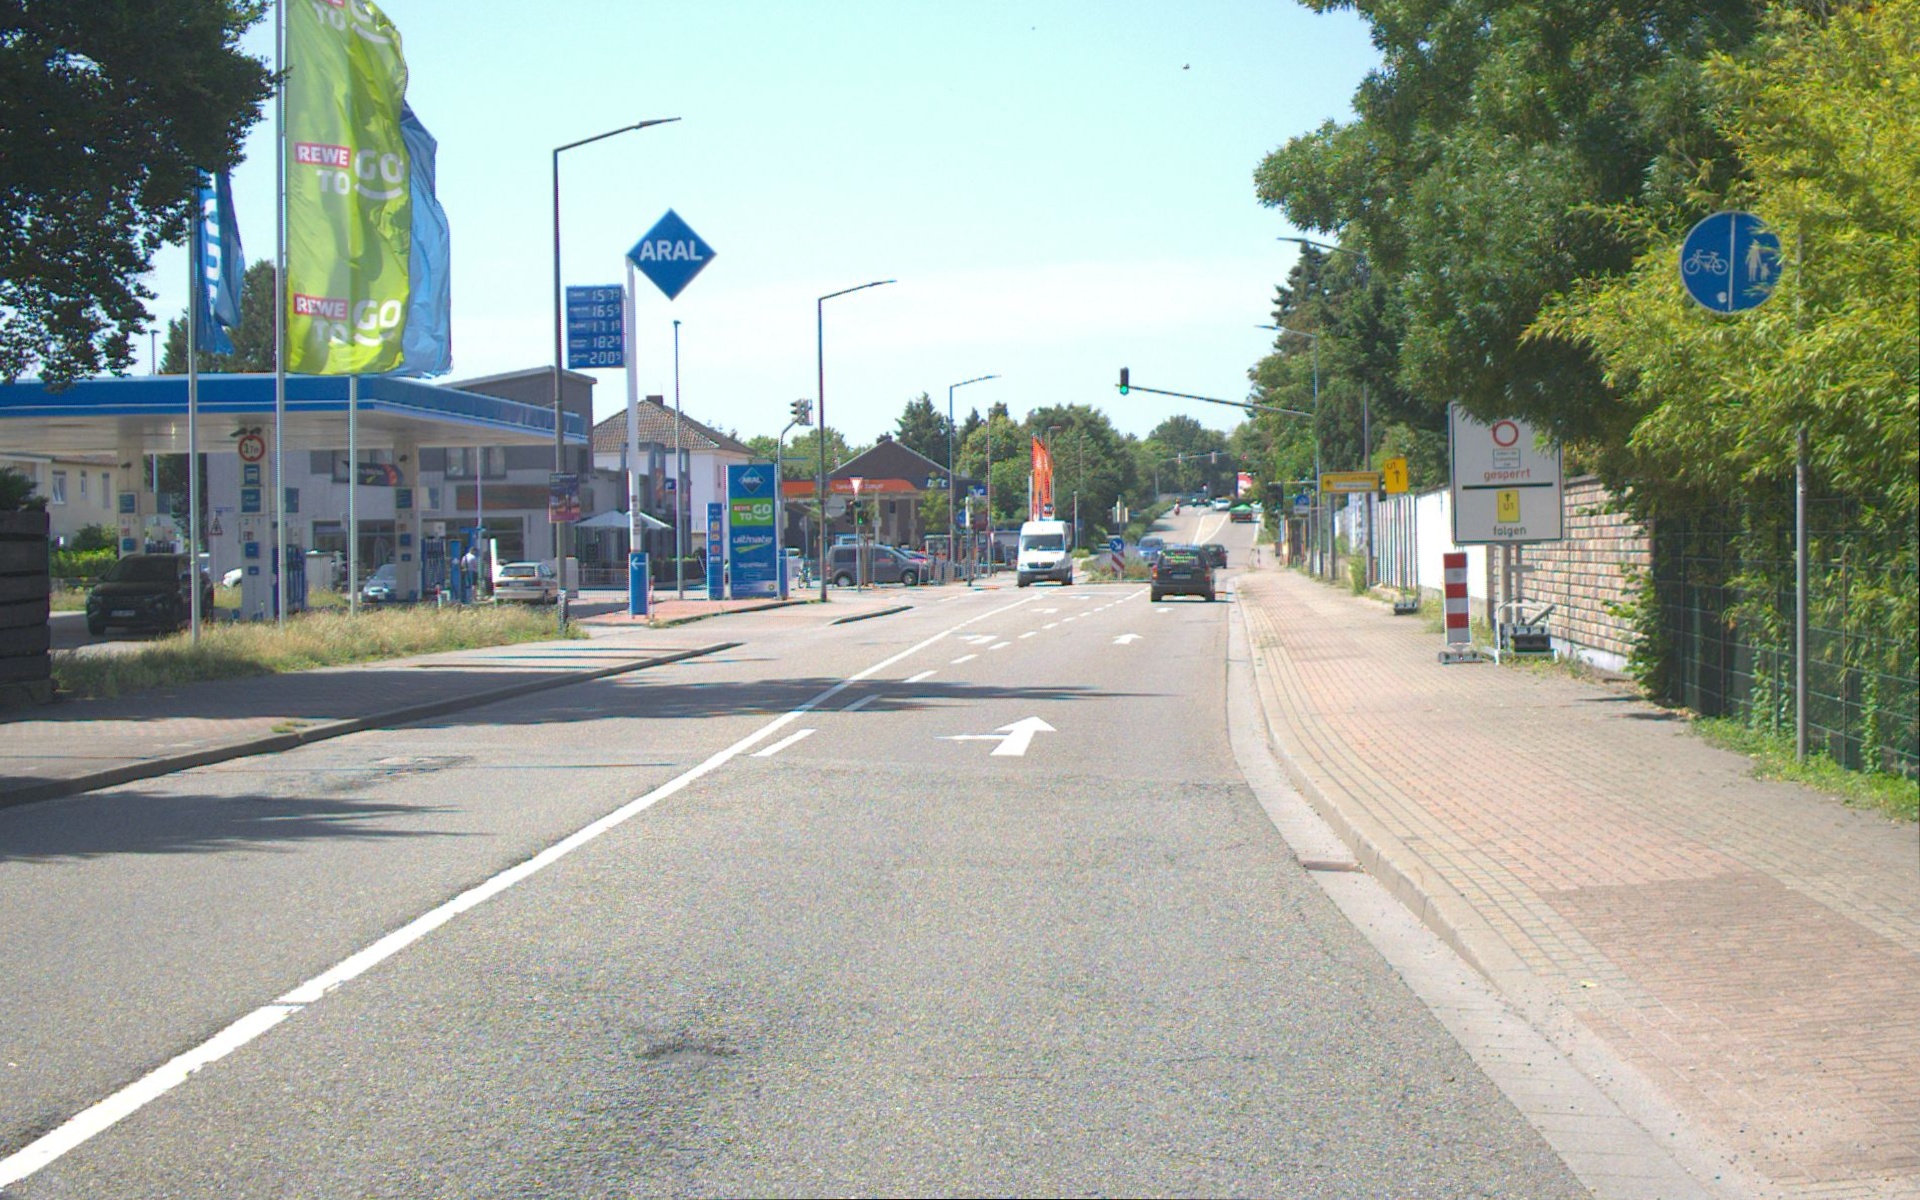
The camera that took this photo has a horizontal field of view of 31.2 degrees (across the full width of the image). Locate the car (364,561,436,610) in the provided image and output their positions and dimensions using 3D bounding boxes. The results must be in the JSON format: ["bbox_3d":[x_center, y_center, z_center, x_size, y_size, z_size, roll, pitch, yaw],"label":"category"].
[{"bbox_3d":[-17.889,-0.465,109.866,1.617,1.415,3.712,-3,1,0],"label":"car"}]

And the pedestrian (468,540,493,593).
[{"bbox_3d":[-15.474,-1.083,110.976,0.610,1.685,0.709,-2,1,-21],"label":"pedestrian"}]

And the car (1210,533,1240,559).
[{"bbox_3d":[15.241,-3.108,197.812,1.666,1.450,3.472,-1,1,5],"label":"car"}]

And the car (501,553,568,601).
[{"bbox_3d":[-13.630,-0.751,110.210,1.617,1.415,3.712,-3,1,0],"label":"car"}]

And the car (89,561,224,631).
[{"bbox_3d":[-17.287,-0.108,74.142,1.670,1.377,4.000,-1,1,5],"label":"car"}]

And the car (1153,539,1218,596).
[{"bbox_3d":[6.060,-0.879,92.291,1.666,1.450,3.472,-1,1,5],"label":"car"}]

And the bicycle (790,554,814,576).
[{"bbox_3d":[-6.040,-1.348,131.549,0.612,0.790,2.574,-1,1,5],"label":"bicycle"}]

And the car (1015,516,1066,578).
[{"bbox_3d":[3.257,-2.098,138.074,1.993,2.414,5.947,0,0,2],"label":"car"}]

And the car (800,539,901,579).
[{"bbox_3d":[-4.457,-1.679,139.997,3.987,1.503,1.555,-1,1,2],"label":"car"}]
